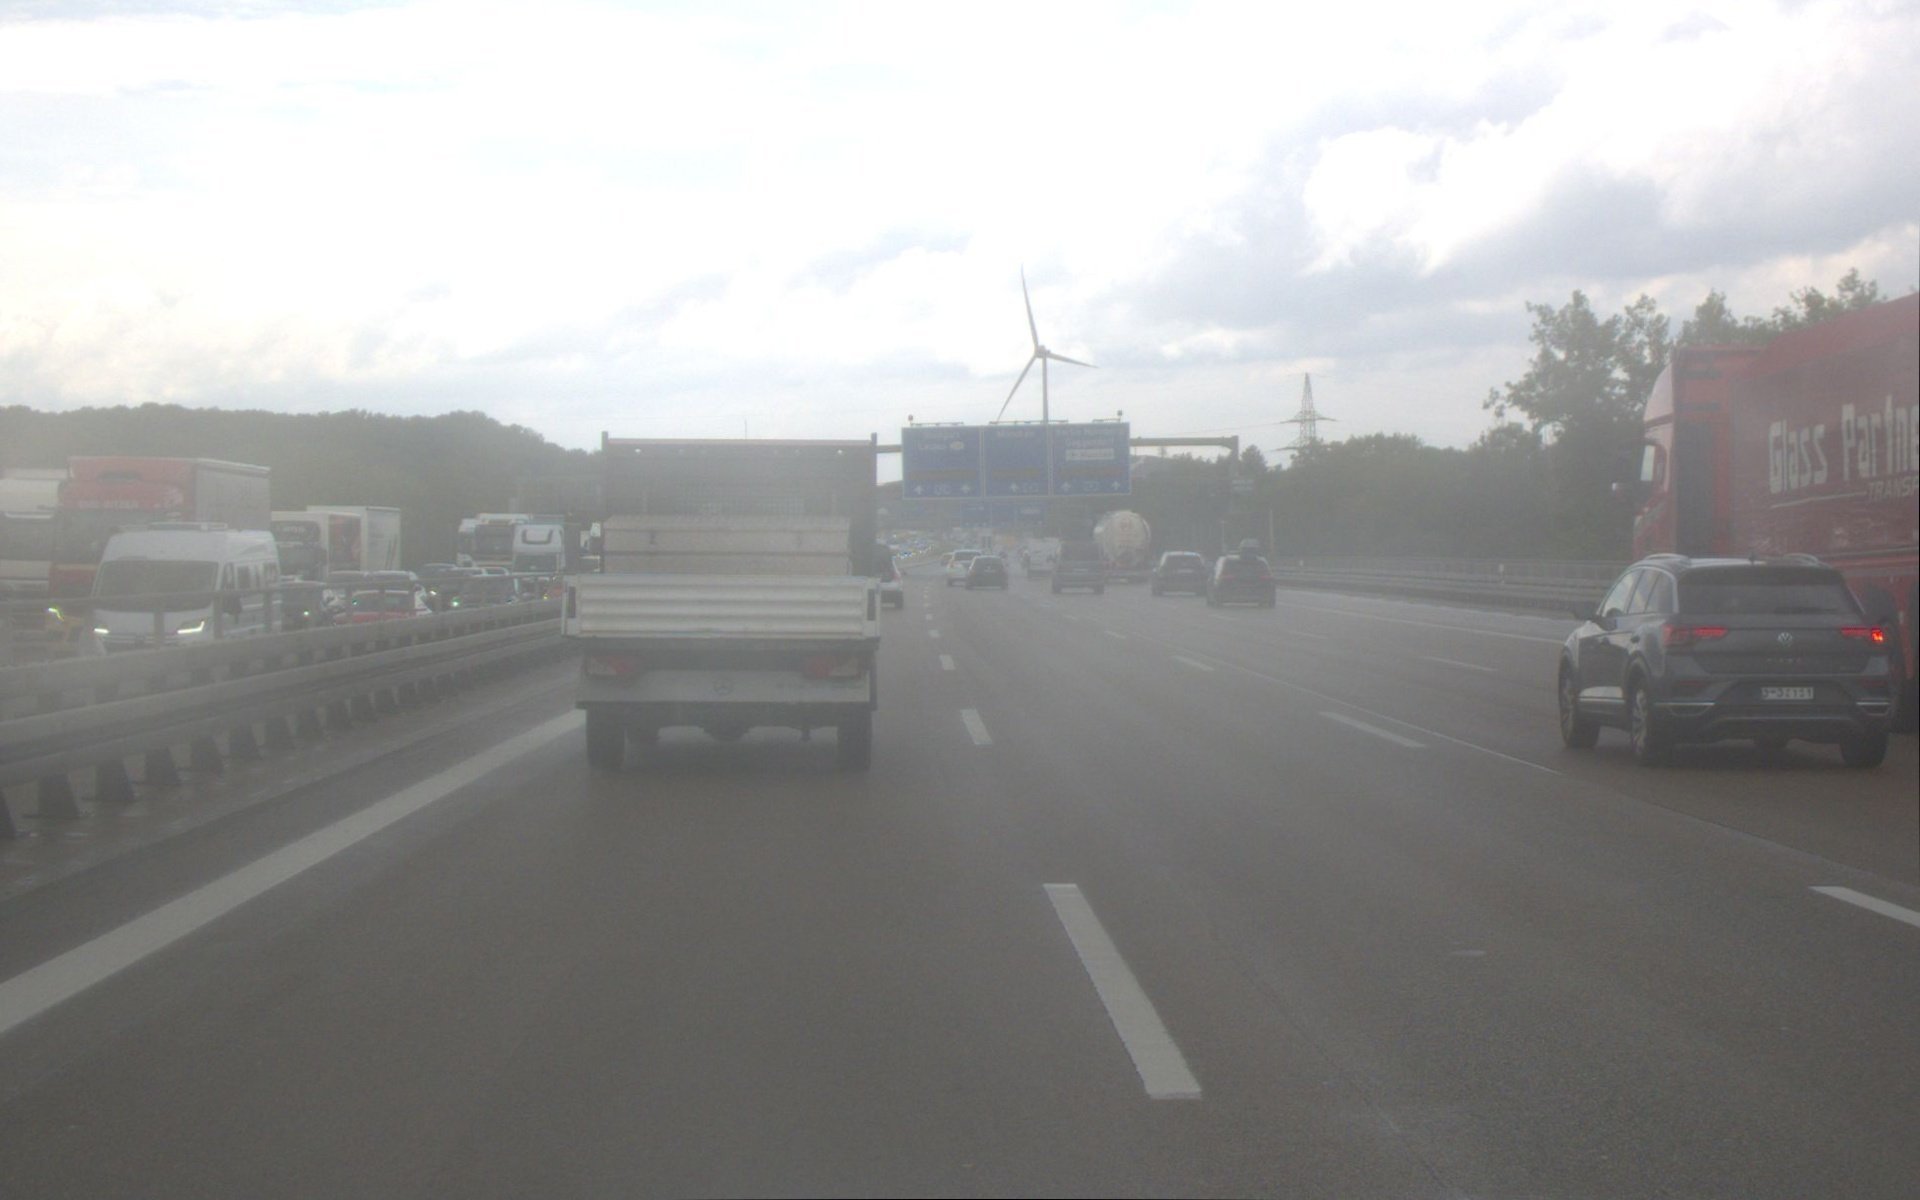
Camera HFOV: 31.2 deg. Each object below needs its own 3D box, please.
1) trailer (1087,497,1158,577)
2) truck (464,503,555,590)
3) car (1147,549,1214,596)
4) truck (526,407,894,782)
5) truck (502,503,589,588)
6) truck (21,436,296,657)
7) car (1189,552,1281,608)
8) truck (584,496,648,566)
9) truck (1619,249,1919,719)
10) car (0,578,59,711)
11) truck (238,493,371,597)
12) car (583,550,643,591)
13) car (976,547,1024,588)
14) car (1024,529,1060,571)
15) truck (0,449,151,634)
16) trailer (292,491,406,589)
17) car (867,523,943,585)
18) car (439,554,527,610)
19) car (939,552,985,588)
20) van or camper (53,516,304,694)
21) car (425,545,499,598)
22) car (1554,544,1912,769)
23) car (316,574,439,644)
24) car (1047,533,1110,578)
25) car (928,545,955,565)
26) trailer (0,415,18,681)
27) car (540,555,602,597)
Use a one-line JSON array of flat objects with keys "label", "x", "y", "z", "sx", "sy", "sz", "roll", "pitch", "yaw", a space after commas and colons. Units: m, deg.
[{"label": "trailer", "x": 8.639, "y": -3.366, "z": 184.221, "sx": 3.333, "sy": 4.161, "sz": 11.838, "roll": 0, "pitch": 1, "yaw": 0}, {"label": "truck", "x": -20.867, "y": -2.468, "z": 159.609, "sx": 3.199, "sy": 3.920, "sz": 7.574, "roll": 0, "pitch": 1, "yaw": 0}, {"label": "car", "x": 8.057, "y": -1.026, "z": 126.046, "sx": 2.045, "sy": 1.693, "sz": 5.007, "roll": 0, "pitch": 1, "yaw": -1}, {"label": "truck", "x": -1.799, "y": -0.108, "z": 25.892, "sx": 2.352, "sy": 2.400, "sz": 7.359, "roll": 1, "pitch": 1, "yaw": -3}, {"label": "truck", "x": -17.151, "y": -2.275, "z": 142.758, "sx": 2.519, "sy": 3.387, "sz": 8.541, "roll": -1, "pitch": 1, "yaw": 0}, {"label": "truck", "x": -16.368, "y": -1.112, "z": 71.280, "sx": 2.983, "sy": 4.134, "sz": 12.524, "roll": -1, "pitch": 1, "yaw": -1}, {"label": "car", "x": 8.177, "y": -0.624, "z": 102.541, "sx": 2.104, "sy": 1.600, "sz": 5.066, "roll": 0, "pitch": 1, "yaw": -3}, {"label": "truck", "x": -21.022, "y": -4.240, "z": 210.660, "sx": 3.177, "sy": 4.179, "sz": 7.738, "roll": -1, "pitch": 1, "yaw": -1}, {"label": "truck", "x": 9.642, "y": -1.074, "z": 33.552, "sx": 3.152, "sy": 3.989, "sz": 15.638, "roll": 0, "pitch": 1, "yaw": -1}, {"label": "car", "x": -11.432, "y": 0.510, "z": 37.551, "sx": 1.922, "sy": 1.414, "sz": 5.165, "roll": -1, "pitch": 1, "yaw": -1}, {"label": "truck", "x": -25.597, "y": -2.145, "z": 134.776, "sx": 3.225, "sy": 3.896, "sz": 10.282, "roll": 0, "pitch": 1, "yaw": 0}, {"label": "car", "x": -13.447, "y": -1.150, "z": 133.451, "sx": 1.719, "sy": 1.497, "sz": 5.503, "roll": -1, "pitch": 1, "yaw": 0}, {"label": "car", "x": 1.724, "y": -1.423, "z": 149.309, "sx": 2.045, "sy": 1.693, "sz": 4.000, "roll": 0, "pitch": 1, "yaw": 0}, {"label": "car", "x": 4.942, "y": -3.010, "z": 207.379, "sx": 2.045, "sy": 2.489, "sz": 4.000, "roll": 0, "pitch": 1, "yaw": 0}, {"label": "truck", "x": -20.248, "y": -1.326, "z": 77.523, "sx": 2.845, "sy": 4.015, "sz": 4.964, "roll": 1, "pitch": 1, "yaw": 0}, {"label": "trailer", "x": -25.587, "y": -2.526, "z": 144.377, "sx": 3.219, "sy": 3.946, "sz": 8.850, "roll": 0, "pitch": 1, "yaw": 0}, {"label": "car", "x": -1.517, "y": -1.304, "z": 96.610, "sx": 2.045, "sy": 1.693, "sz": 4.000, "roll": 0, "pitch": 1, "yaw": 0}, {"label": "car", "x": -13.040, "y": -0.504, "z": 94.218, "sx": 1.832, "sy": 1.447, "sz": 4.000, "roll": -1, "pitch": 1, "yaw": 0}, {"label": "car", "x": 0.087, "y": -1.441, "z": 165.177, "sx": 1.972, "sy": 1.693, "sz": 4.001, "roll": 0, "pitch": 1, "yaw": -3}, {"label": "van or camper", "x": -11.756, "y": 0.007, "z": 52.277, "sx": 2.278, "sy": 2.487, "sz": 7.303, "roll": -1, "pitch": 1, "yaw": -1}, {"label": "car", "x": -16.702, "y": -0.978, "z": 115.498, "sx": 1.719, "sy": 1.722, "sz": 5.105, "roll": -1, "pitch": 1, "yaw": 0}, {"label": "car", "x": 5.701, "y": 0.371, "z": 25.776, "sx": 1.792, "sy": 1.557, "sz": 3.722, "roll": 0, "pitch": 1, "yaw": -1}, {"label": "car", "x": -12.708, "y": 0.169, "z": 75.284, "sx": 1.922, "sy": 1.414, "sz": 5.012, "roll": -1, "pitch": 1, "yaw": -1}, {"label": "car", "x": 4.540, "y": -1.742, "z": 132.359, "sx": 2.097, "sy": 1.693, "sz": 4.001, "roll": 0, "pitch": 1, "yaw": -3}, {"label": "car", "x": -1.328, "y": -3.262, "z": 250.297, "sx": 1.812, "sy": 1.441, "sz": 4.001, "roll": -1, "pitch": 1, "yaw": -2}, {"label": "trailer", "x": -16.242, "y": -0.699, "z": 47.930, "sx": 2.880, "sy": 4.131, "sz": 13.029, "roll": -1, "pitch": 1, "yaw": -1}, {"label": "car", "x": -13.022, "y": -0.819, "z": 115.208, "sx": 1.573, "sy": 1.349, "sz": 4.384, "roll": -1, "pitch": 1, "yaw": 0}]
